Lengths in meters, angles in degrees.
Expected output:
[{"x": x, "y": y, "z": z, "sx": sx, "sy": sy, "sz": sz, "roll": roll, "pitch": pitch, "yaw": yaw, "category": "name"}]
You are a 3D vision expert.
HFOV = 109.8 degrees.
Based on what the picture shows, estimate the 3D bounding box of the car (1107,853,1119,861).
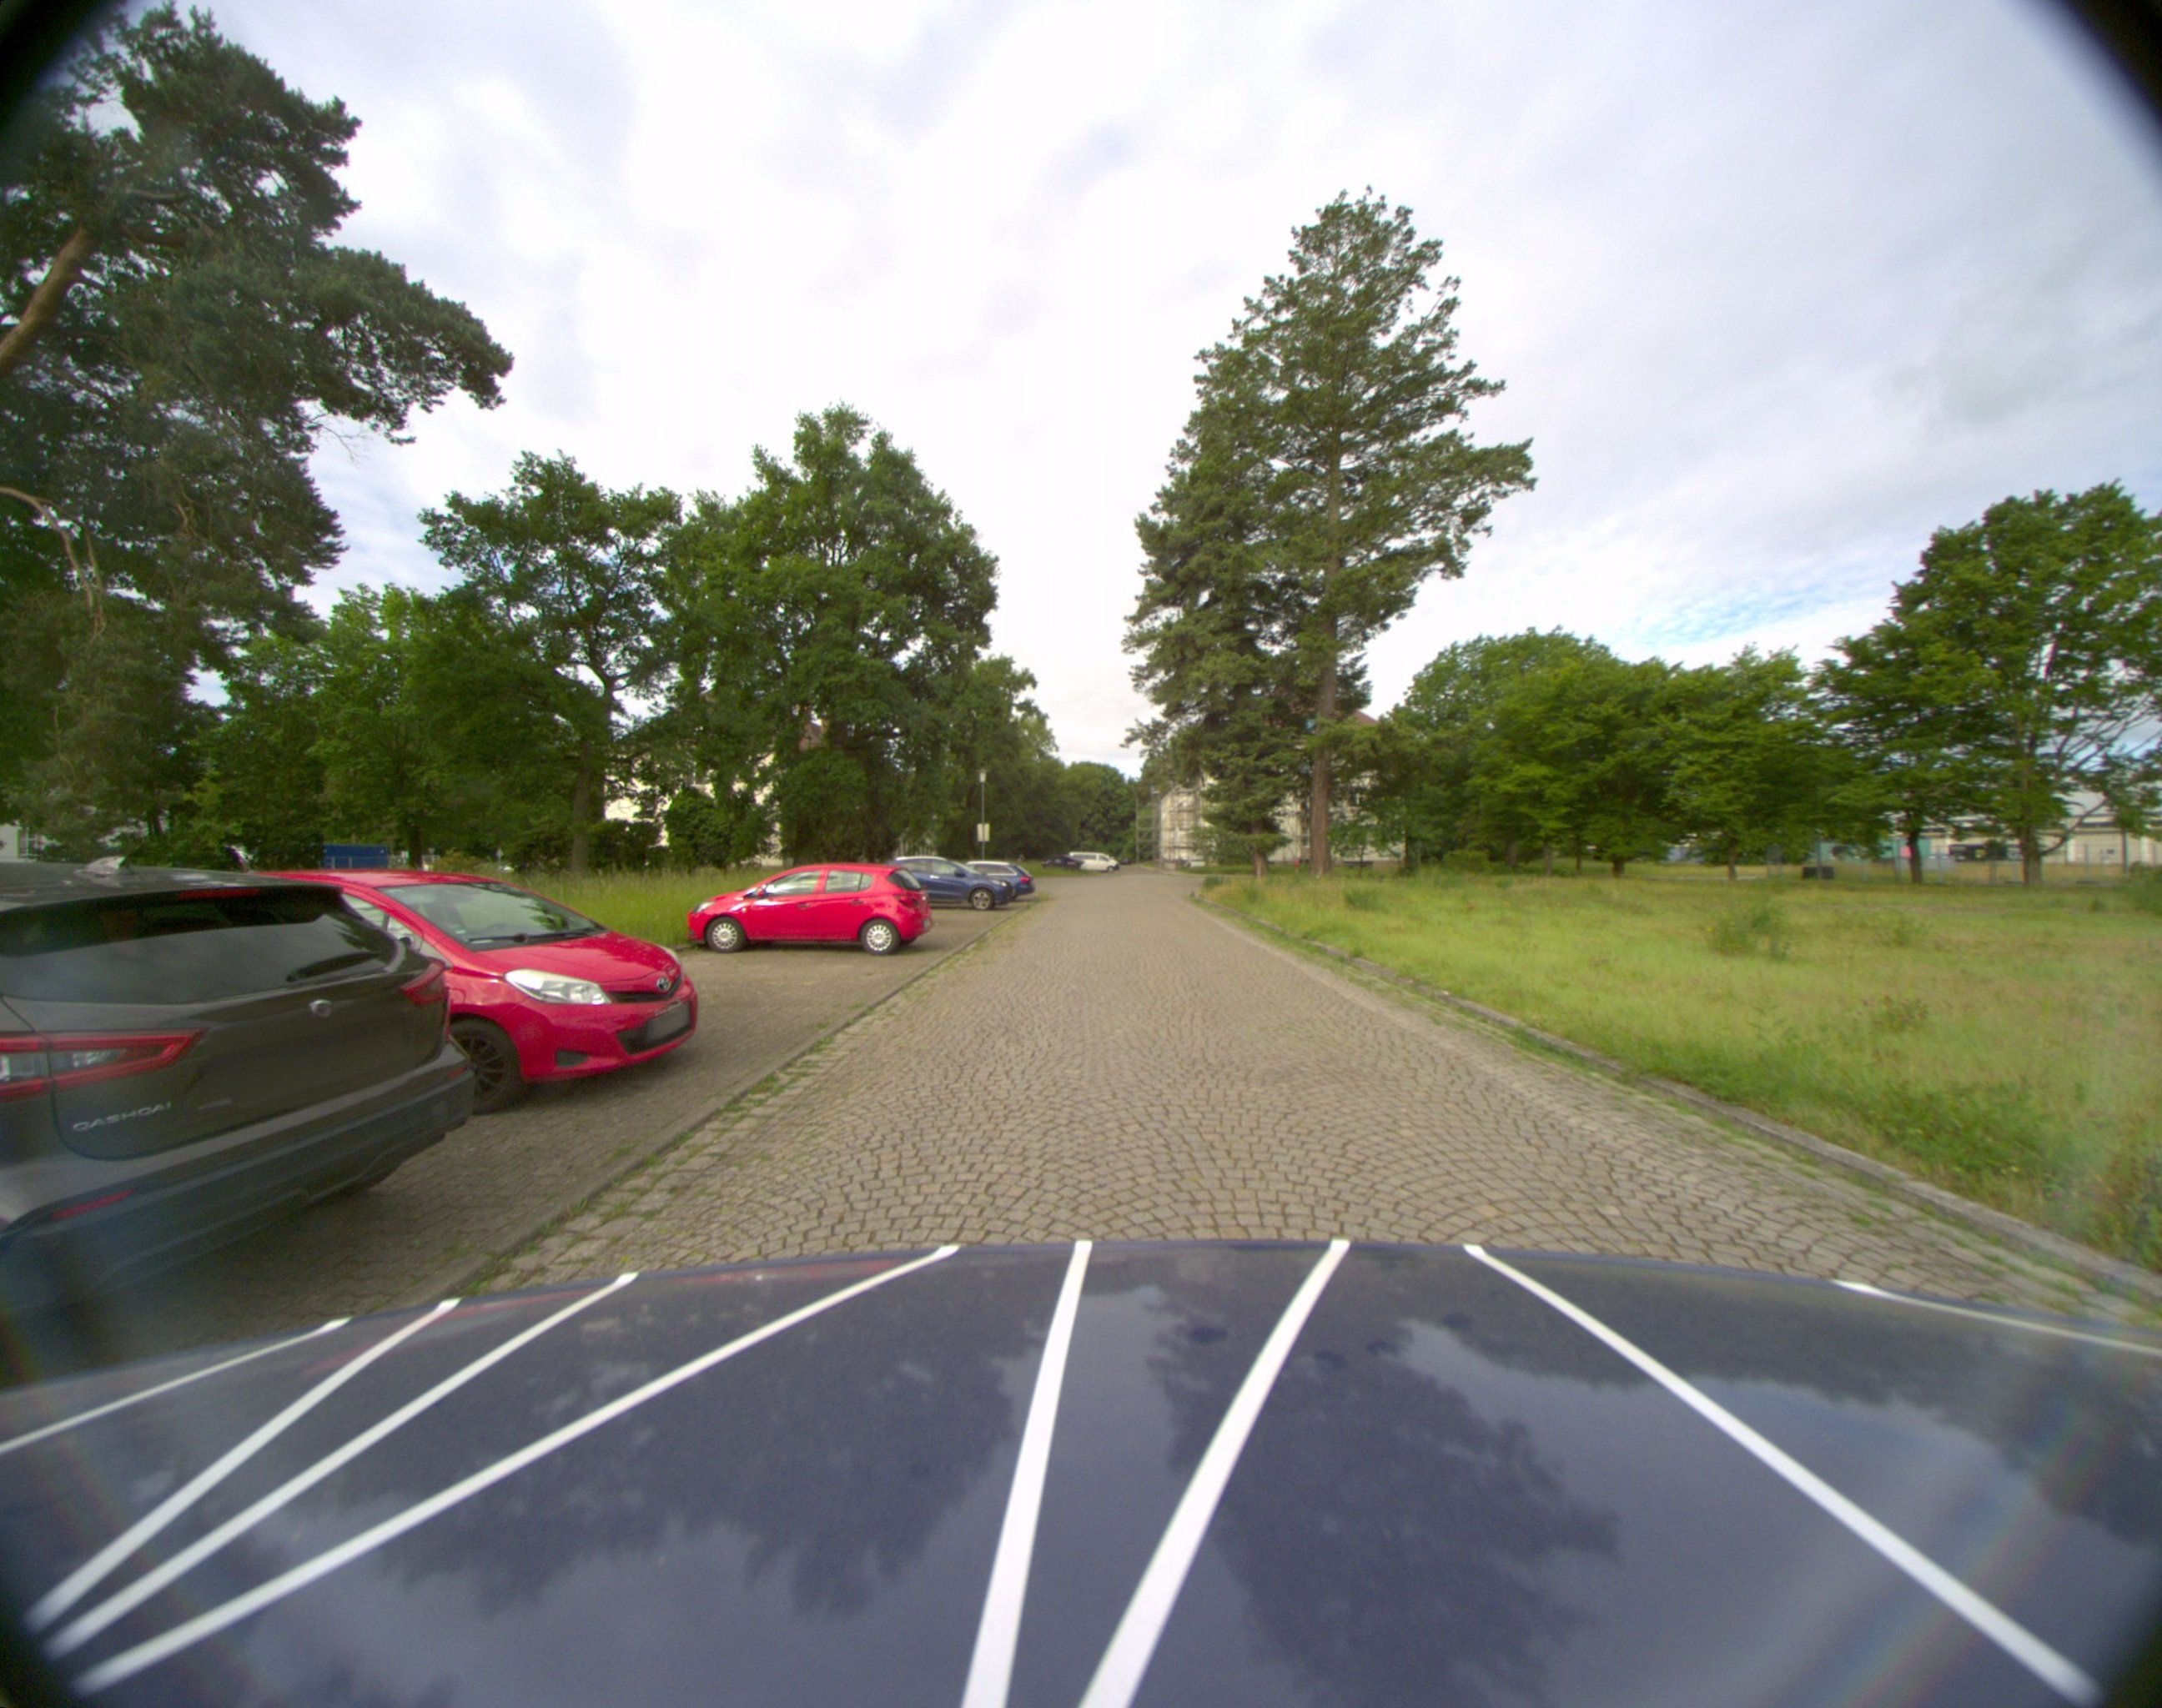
[{"x": 5.977, "y": 0.498, "z": 142.799, "sx": 1.870, "sy": 1.408, "sz": 4.695, "roll": 1, "pitch": 0, "yaw": -2, "category": "car"}]

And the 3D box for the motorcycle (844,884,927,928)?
[{"x": -4.447, "y": 1.177, "z": 17.348, "sx": 1.745, "sy": 0.951, "sz": 0.614, "roll": 1, "pitch": 1, "yaw": -4, "category": "motorcycle"}]

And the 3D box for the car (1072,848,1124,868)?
[{"x": 1.663, "y": 0.415, "z": 76.472, "sx": 5.140, "sy": 1.860, "sz": 1.723, "roll": 1, "pitch": 0, "yaw": 0, "category": "car"}]

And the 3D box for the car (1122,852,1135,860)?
[{"x": 8.878, "y": 0.435, "z": 143.258, "sx": 1.870, "sy": 1.408, "sz": 4.695, "roll": 1, "pitch": 0, "yaw": -2, "category": "car"}]

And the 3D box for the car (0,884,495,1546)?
[{"x": -4.877, "y": 0.939, "z": 2.641, "sx": 4.270, "sy": 1.589, "sz": 1.822, "roll": 1, "pitch": 0, "yaw": 0, "category": "car"}]

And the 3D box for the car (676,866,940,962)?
[{"x": -4.504, "y": 0.968, "z": 12.914, "sx": 3.894, "sy": 1.451, "sz": 1.582, "roll": 1, "pitch": 0, "yaw": 0, "category": "car"}]

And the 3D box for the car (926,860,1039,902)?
[{"x": -3.538, "y": 0.979, "z": 27.797, "sx": 3.877, "sy": 1.417, "sz": 1.582, "roll": 1, "pitch": 0, "yaw": 0, "category": "car"}]

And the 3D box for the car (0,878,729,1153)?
[{"x": -4.914, "y": 0.974, "z": 5.372, "sx": 4.015, "sy": 1.477, "sz": 1.766, "roll": 1, "pitch": 0, "yaw": 2, "category": "car"}]

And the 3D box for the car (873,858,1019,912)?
[{"x": -4.033, "y": 0.915, "z": 23.148, "sx": 4.150, "sy": 1.529, "sz": 1.582, "roll": 1, "pitch": 0, "yaw": 0, "category": "car"}]
